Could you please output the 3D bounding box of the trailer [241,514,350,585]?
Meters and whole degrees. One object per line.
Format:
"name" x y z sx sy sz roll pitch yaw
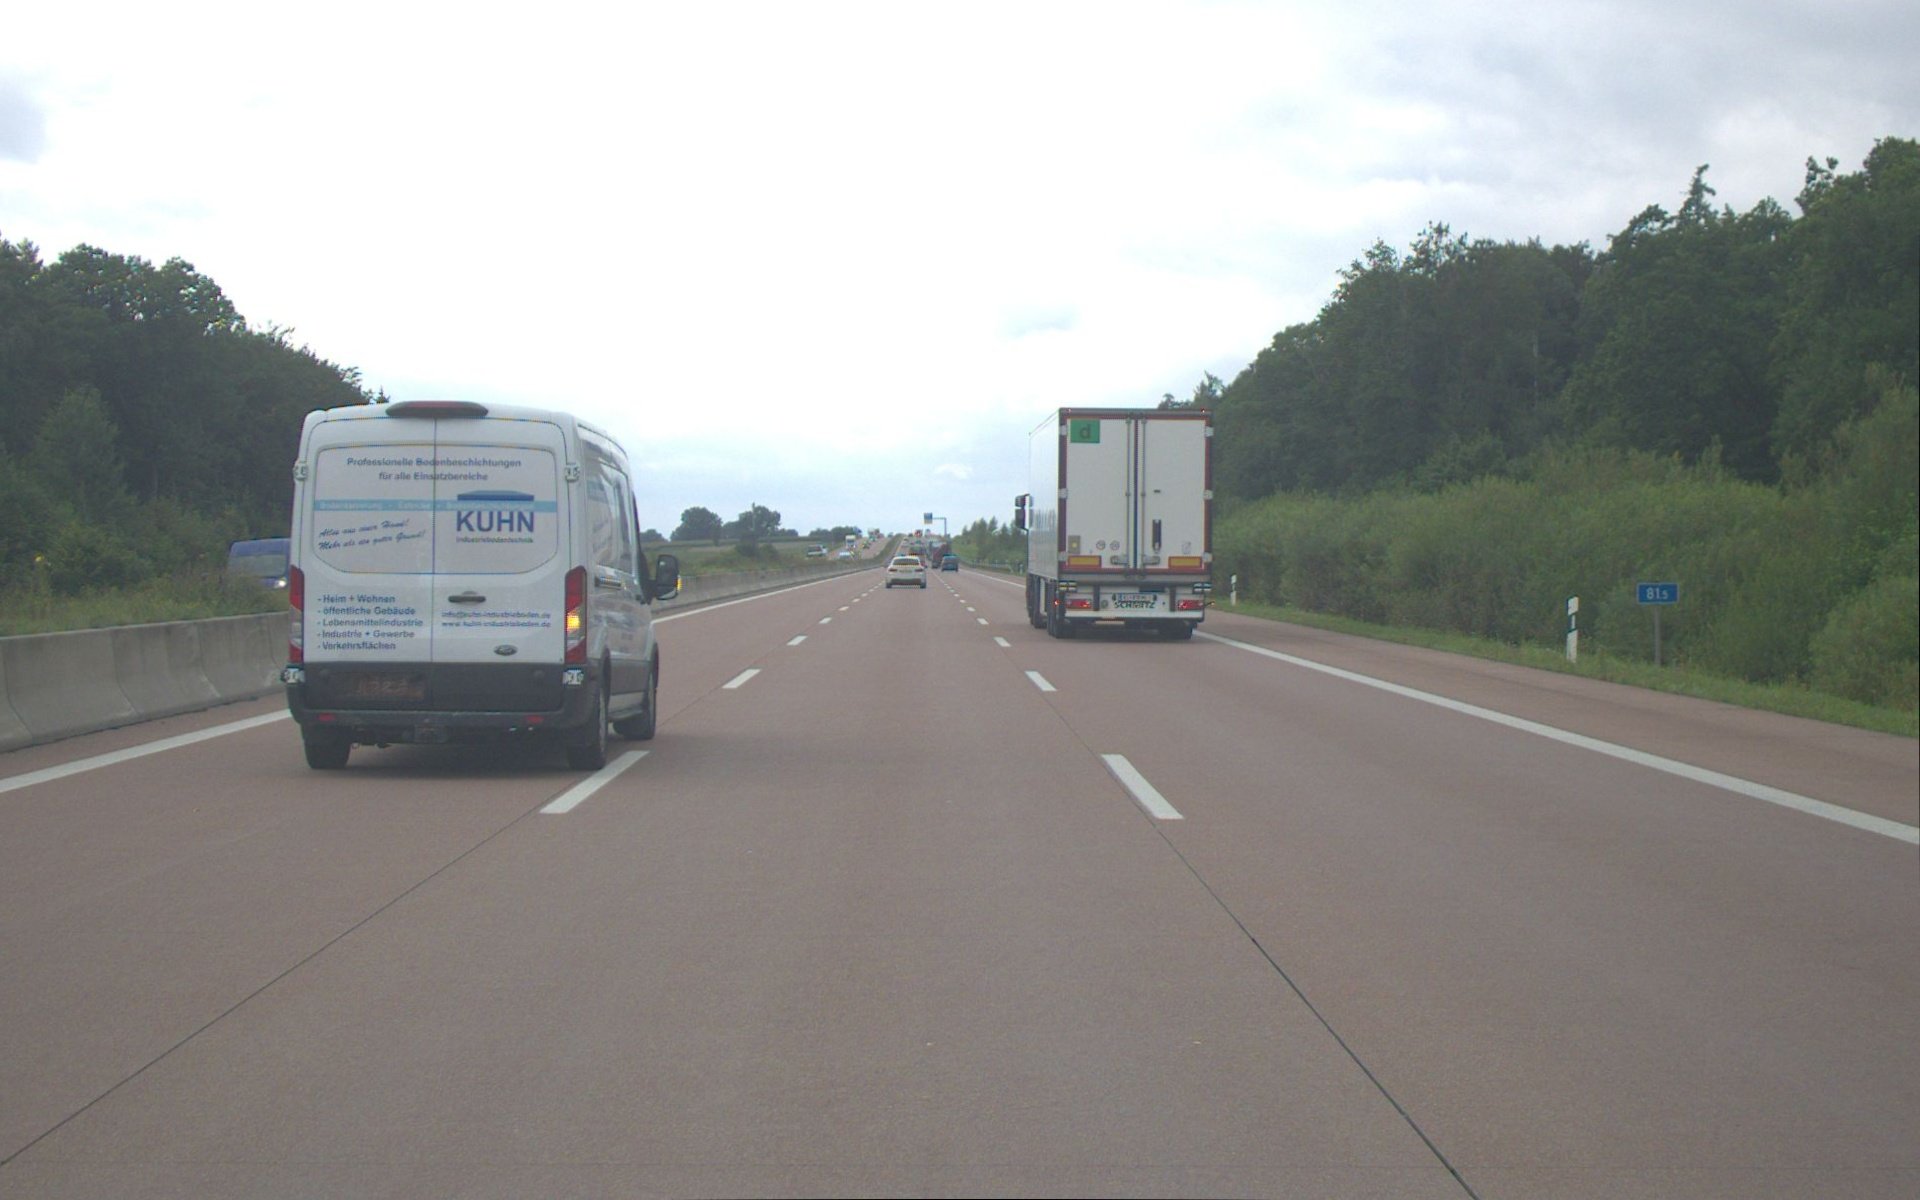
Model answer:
"trailer" -21.086 -1.618 109.348 2.332 2.154 6.190 0 1 -1

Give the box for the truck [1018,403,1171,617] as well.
"truck" 2.740 -1.831 71.600 2.921 4.279 5.335 0 1 0

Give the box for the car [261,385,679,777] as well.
"car" -3.415 -0.200 25.490 2.137 2.498 7.132 0 1 0

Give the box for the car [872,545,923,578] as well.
"car" -2.914 -1.826 161.327 2.163 1.446 4.719 1 1 1

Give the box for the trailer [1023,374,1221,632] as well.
"trailer" 2.818 -1.699 64.046 2.921 4.279 13.614 0 1 0
